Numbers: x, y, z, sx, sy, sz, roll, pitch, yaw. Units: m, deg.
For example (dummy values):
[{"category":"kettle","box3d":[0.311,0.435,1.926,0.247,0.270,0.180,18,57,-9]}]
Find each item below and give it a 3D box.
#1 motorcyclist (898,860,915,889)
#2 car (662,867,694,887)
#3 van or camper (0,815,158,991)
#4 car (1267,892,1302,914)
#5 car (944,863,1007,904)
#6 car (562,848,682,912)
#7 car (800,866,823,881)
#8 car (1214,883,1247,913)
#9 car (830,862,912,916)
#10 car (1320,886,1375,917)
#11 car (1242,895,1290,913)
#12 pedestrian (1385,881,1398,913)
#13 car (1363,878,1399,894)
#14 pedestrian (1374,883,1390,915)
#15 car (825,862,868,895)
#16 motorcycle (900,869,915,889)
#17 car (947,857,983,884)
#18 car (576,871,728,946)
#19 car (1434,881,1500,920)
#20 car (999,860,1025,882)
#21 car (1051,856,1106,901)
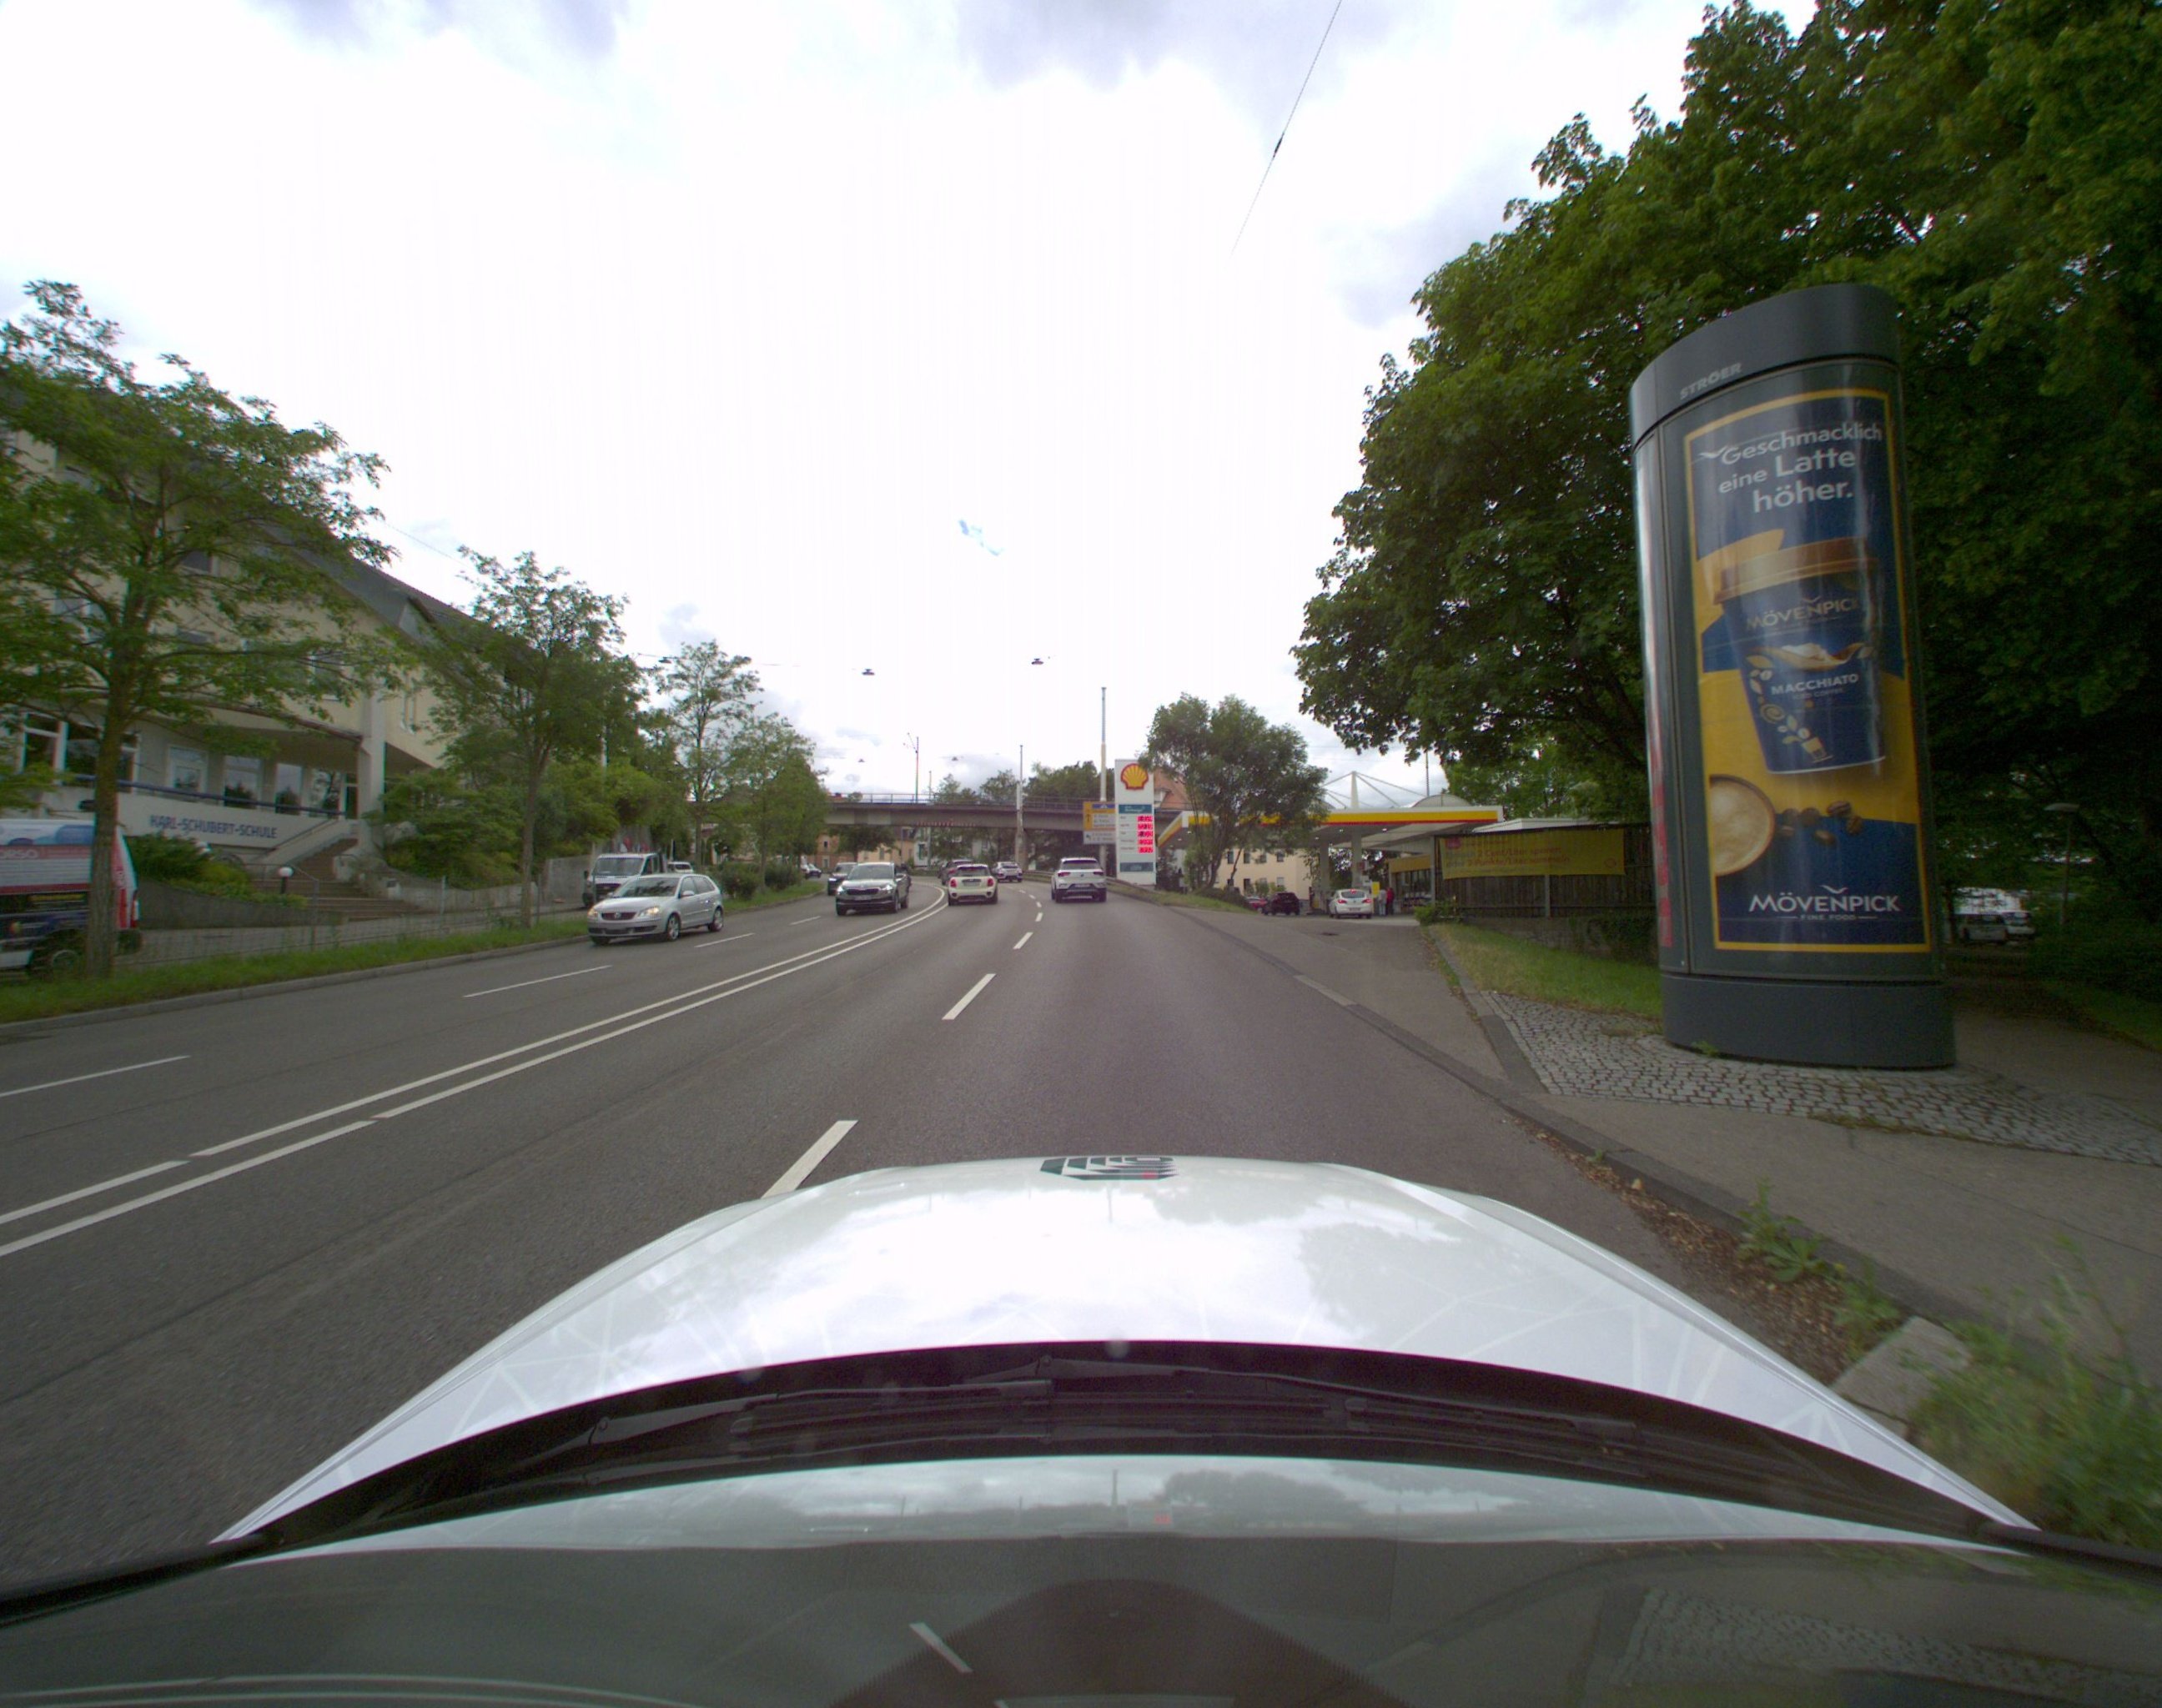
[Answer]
[{"category":"motorcyclist","box3d":[-9.396,1.090,43.818,0.762,1.485,0.955,-3,-1,-18]},{"category":"car","box3d":[-38.871,2.200,78.477,1.781,1.785,4.413,-2,1,-40]},{"category":"van or camper","box3d":[-16.205,0.702,10.451,1.985,2.473,5.715,-1,-1,3]},{"category":"car","box3d":[14.521,3.545,58.186,1.728,1.486,3.880,-2,-4,4]},{"category":"car","box3d":[-3.749,1.027,29.572,1.716,1.376,3.458,0,-1,2]},{"category":"car","box3d":[-18.326,0.989,32.954,2.268,2.273,6.303,-1,-1,-11]},{"category":"car","box3d":[-28.195,2.006,85.261,1.744,1.414,4.392,-2,0,-25]},{"category":"car","box3d":[10.533,3.139,57.499,1.728,2.011,4.716,-2,-4,4]},{"category":"car","box3d":[-6.636,1.053,26.138,1.781,1.539,4.070,-1,0,-4]},{"category":"car","box3d":[13.486,2.444,41.427,1.728,1.486,3.880,-2,-4,4]},{"category":"car","box3d":[18.042,4.845,79.628,4.249,1.522,1.634,1,-3,29]},{"category":"pedestrian","box3d":[16.969,2.350,44.487,0.491,1.704,0.431,0,-1,-7]},{"category":"car","box3d":[30.722,3.274,83.331,3.599,1.349,1.585,6,-5,-34]},{"category":"pedestrian","box3d":[16.205,2.407,43.858,0.541,1.704,0.609,-1,-1,-4]},{"category":"car","box3d":[-12.245,1.258,42.765,1.786,1.575,4.449,-2,0,-12]},{"category":"motorcycle","box3d":[-9.377,1.365,43.943,0.484,1.056,2.254,-5,-1,-17]},{"category":"car","box3d":[-7.352,1.036,51.952,1.716,1.640,3.457,0,-1,1]},{"category":"car","box3d":[-9.472,1.140,18.338,1.562,1.431,3.885,0,0,-4]},{"category":"car","box3d":[15.454,1.827,32.495,1.580,1.432,4.320,-4,-4,35]},{"category":"car","box3d":[-4.768,1.150,56.262,1.673,1.409,3.450,0,-1,-5]},{"category":"car","box3d":[-0.147,0.837,29.179,1.793,1.519,3.452,0,-1,-3]}]
